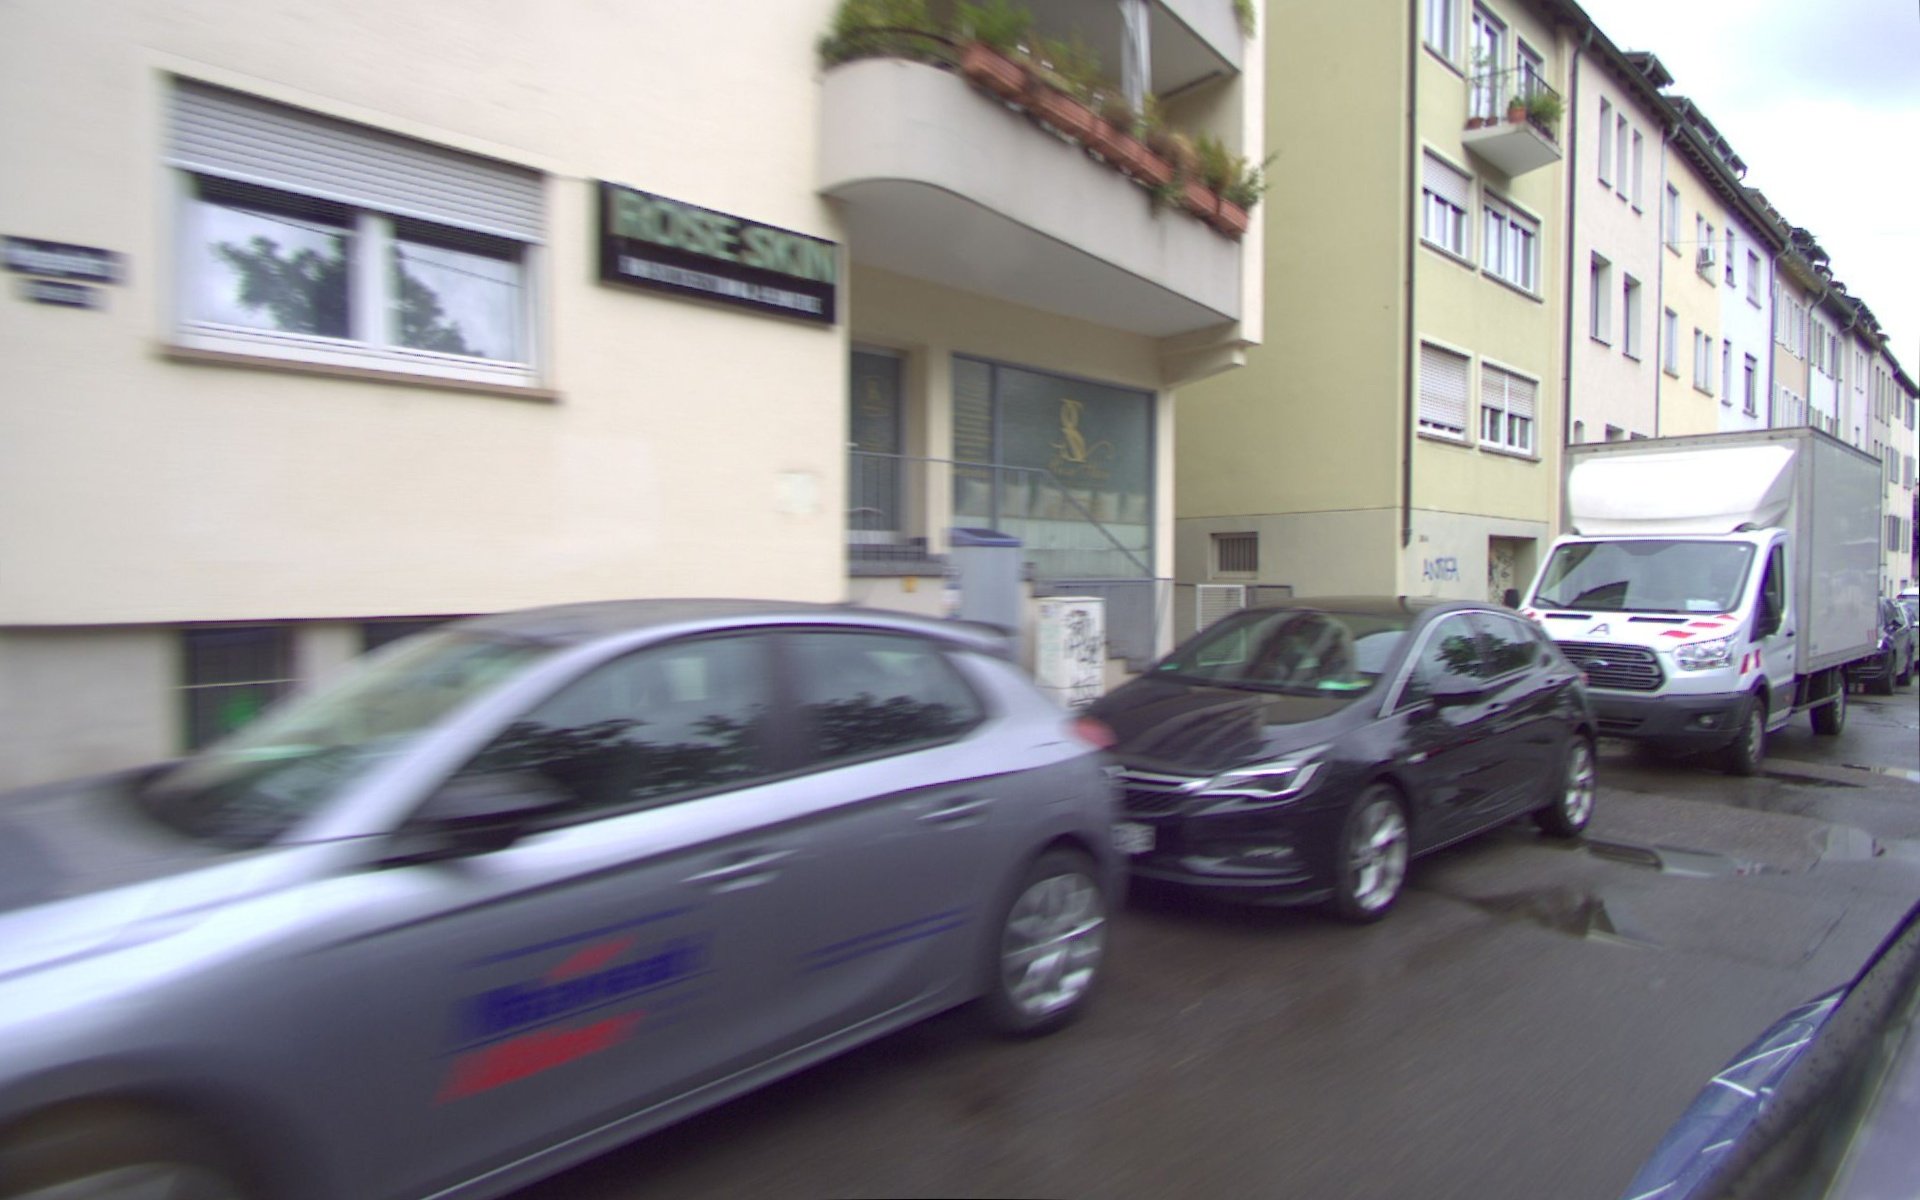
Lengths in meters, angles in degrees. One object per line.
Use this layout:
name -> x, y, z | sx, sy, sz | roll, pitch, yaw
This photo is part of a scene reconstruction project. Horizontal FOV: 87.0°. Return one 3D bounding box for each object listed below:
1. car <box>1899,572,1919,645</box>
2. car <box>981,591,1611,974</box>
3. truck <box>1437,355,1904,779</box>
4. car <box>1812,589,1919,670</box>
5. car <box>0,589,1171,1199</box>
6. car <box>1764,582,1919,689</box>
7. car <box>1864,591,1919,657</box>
car -> 27.492, 0.263, 27.885 | 4.162, 1.948, 1.822 | 1, 0, -39
car -> 2.143, 0.684, 5.818 | 3.972, 1.438, 1.666 | 0, 1, -41
truck -> 7.933, -0.266, 10.872 | 6.912, 3.212, 2.474 | 0, 1, -41
car -> 19.345, 0.575, 21.221 | 4.026, 1.519, 1.666 | 1, 0, -41
car -> -1.162, 0.711, 3.029 | 3.857, 1.438, 1.664 | -1, 2, -44
car -> 15.156, 0.546, 17.174 | 4.026, 1.593, 1.666 | 1, 0, -41
car -> 23.066, 0.569, 24.340 | 3.440, 1.489, 1.580 | 1, 0, -41
